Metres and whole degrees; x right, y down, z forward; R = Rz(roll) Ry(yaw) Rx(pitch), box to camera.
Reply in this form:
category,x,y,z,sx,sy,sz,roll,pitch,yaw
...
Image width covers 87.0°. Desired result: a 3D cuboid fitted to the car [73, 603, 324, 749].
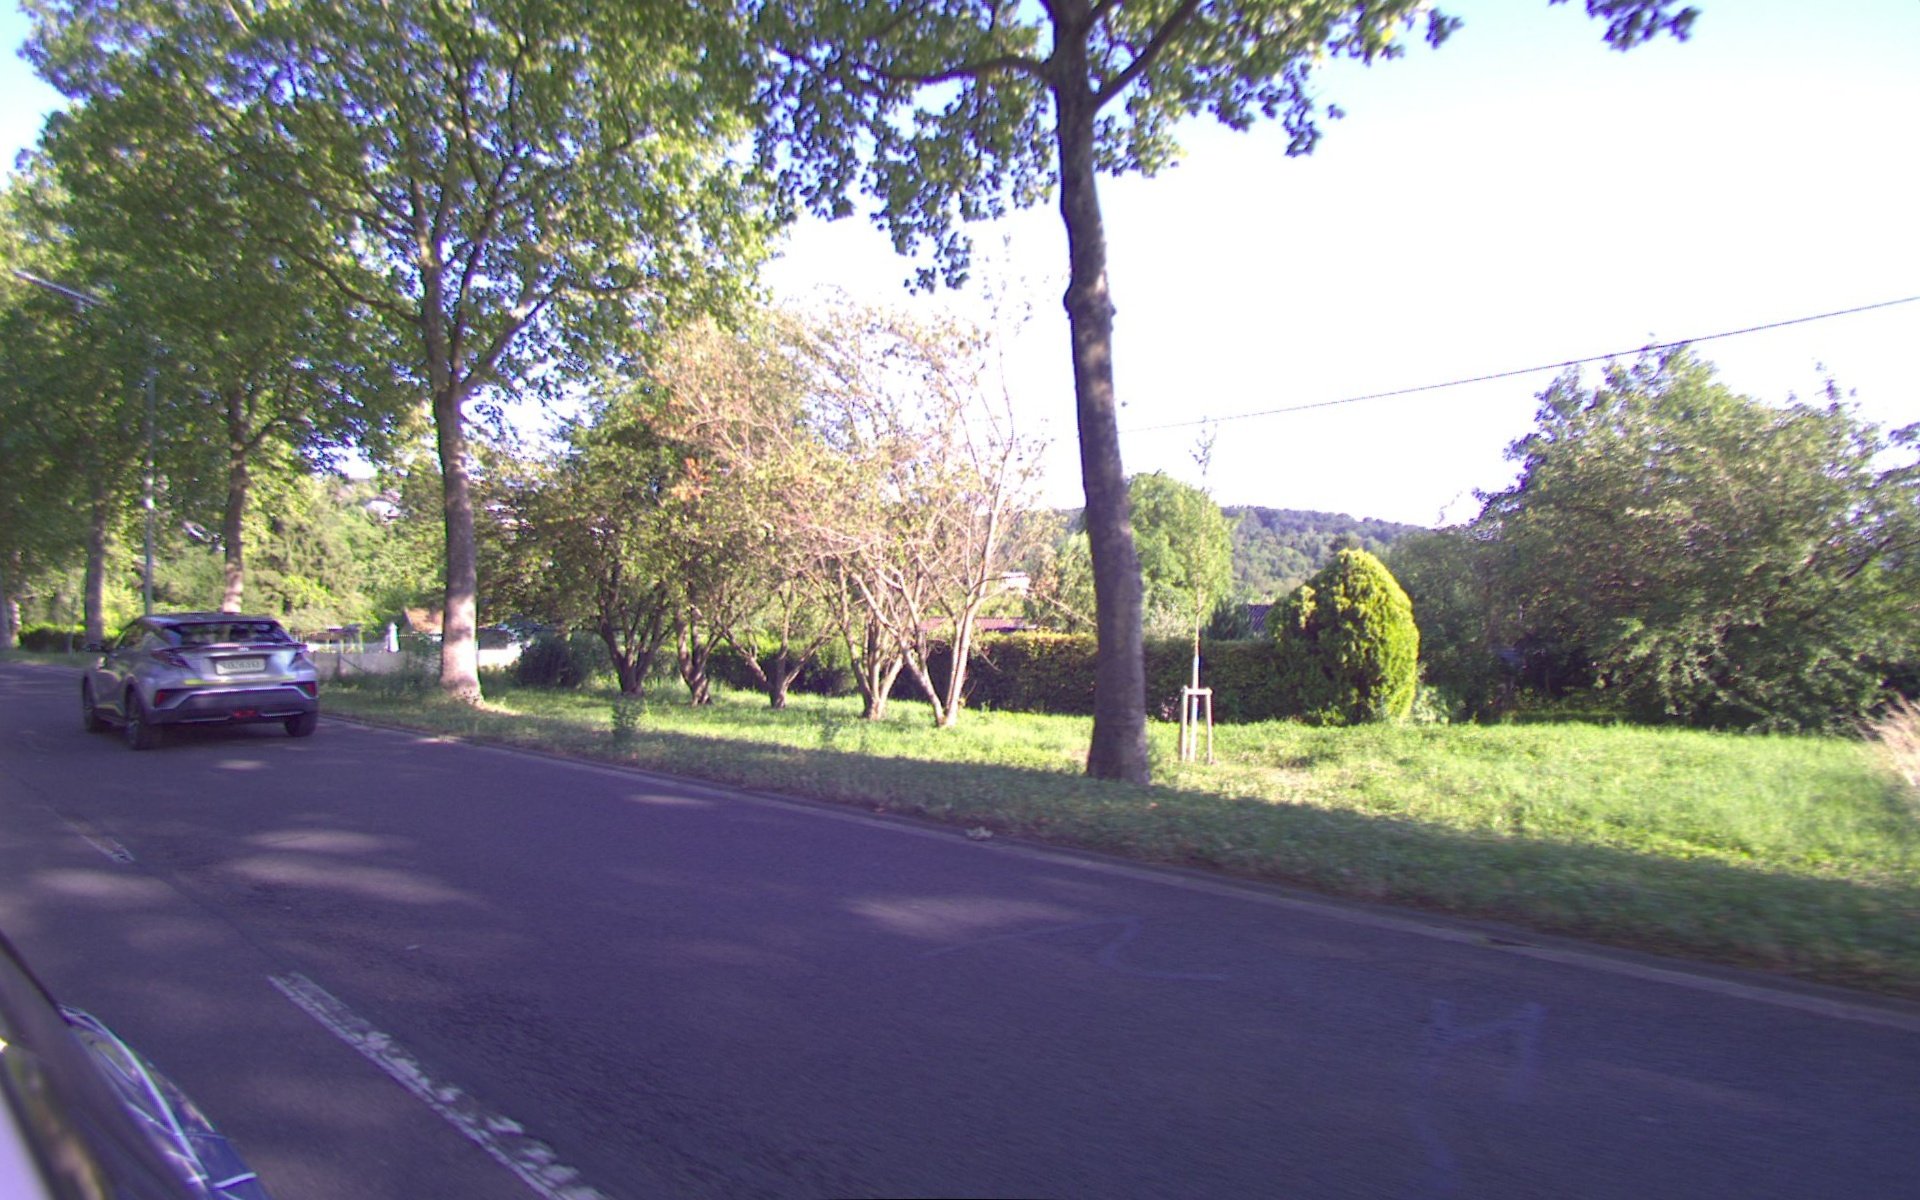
category,x,y,z,sx,sy,sz,roll,pitch,yaw
car,-9.535,0.807,12.562,3.998,1.516,1.698,0,0,41
